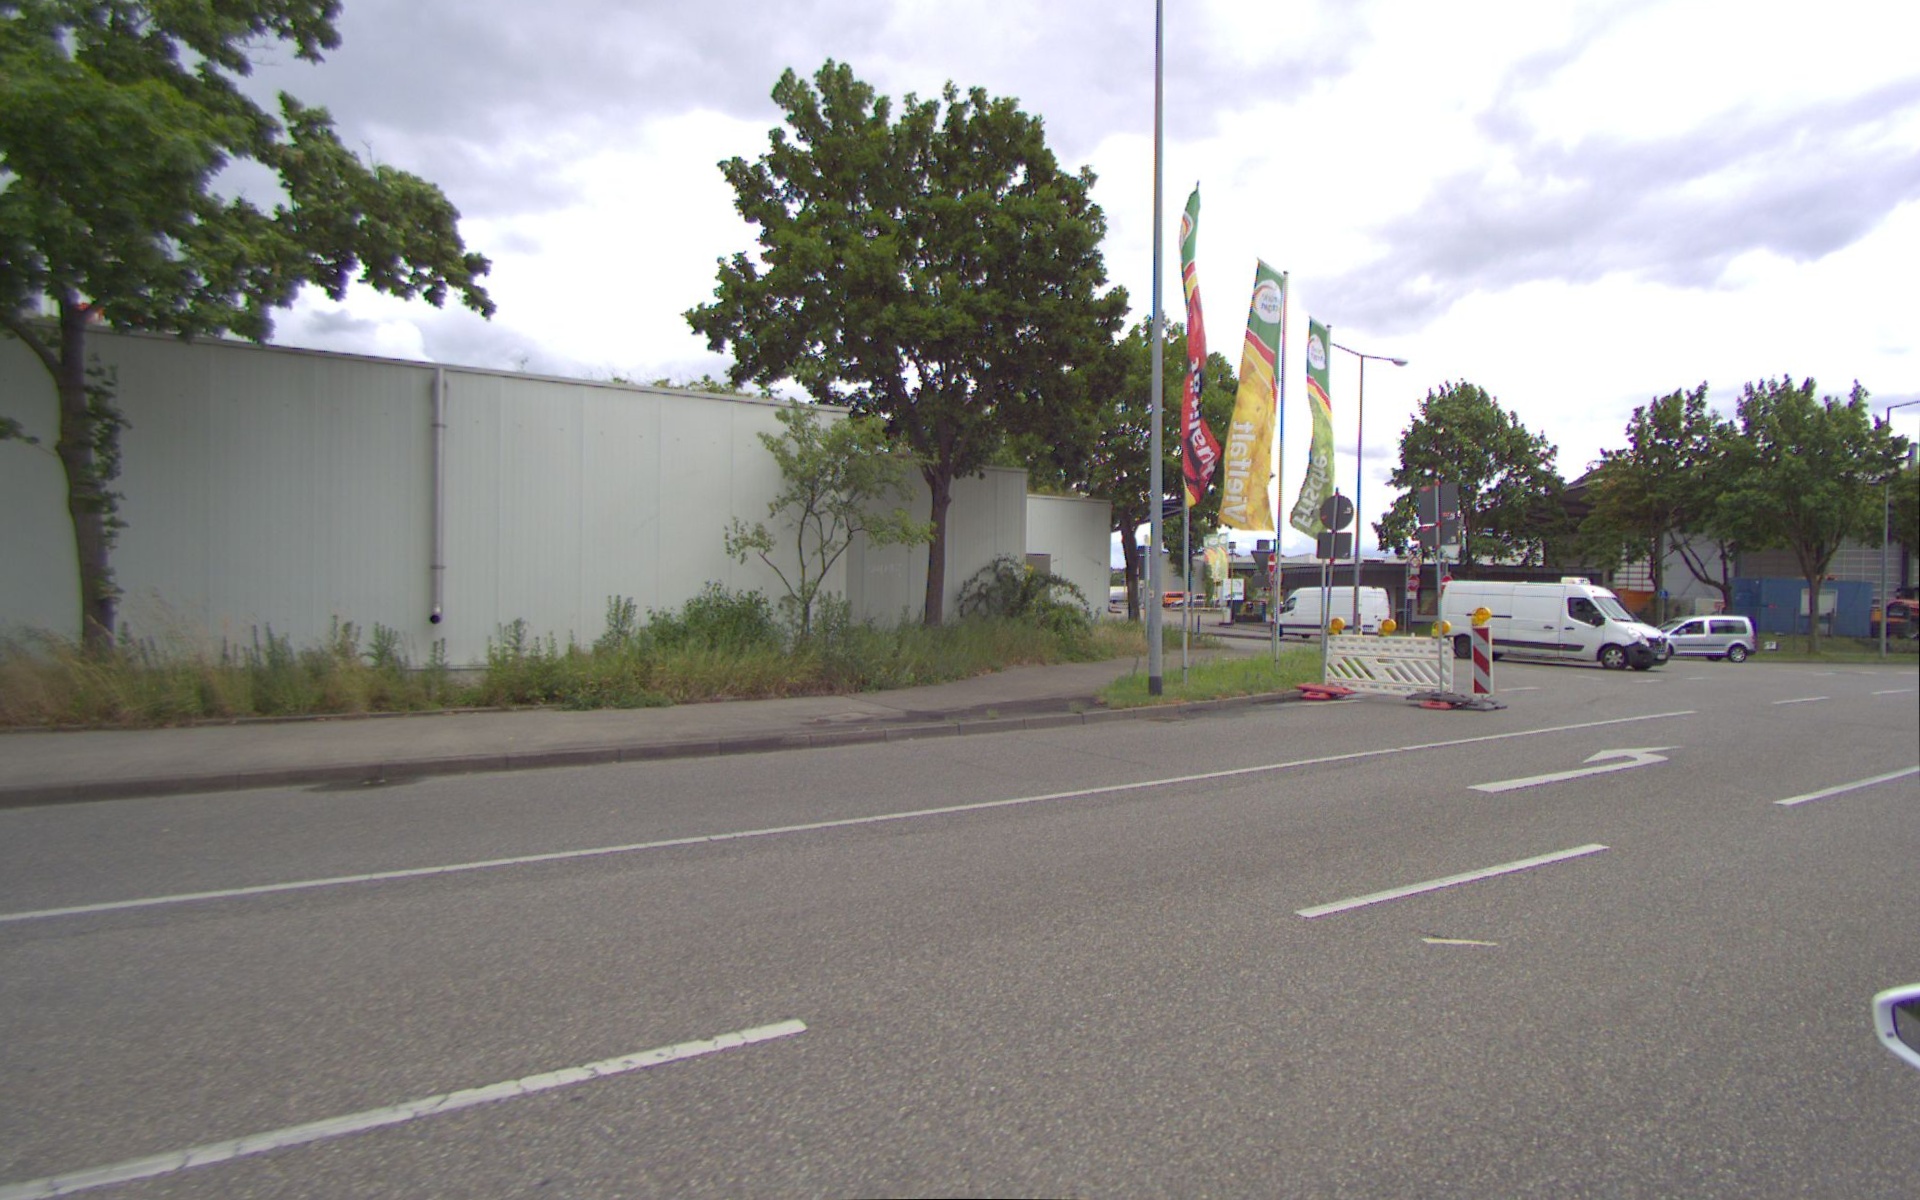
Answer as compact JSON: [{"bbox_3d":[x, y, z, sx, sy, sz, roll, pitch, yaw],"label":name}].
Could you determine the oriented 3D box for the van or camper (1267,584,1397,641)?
[{"bbox_3d":[18.242,0.531,49.741,2.297,2.591,6.544,1,1,-21],"label":"van or camper"}]

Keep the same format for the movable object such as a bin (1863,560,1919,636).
[{"bbox_3d":[54.831,-0.069,56.045,6.422,4.145,2.734,1,0,1],"label":"movable object such as a bin"}]

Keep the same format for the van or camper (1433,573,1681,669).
[{"bbox_3d":[17.793,0.503,30.334,2.248,2.591,6.052,0,1,-33],"label":"van or camper"}]

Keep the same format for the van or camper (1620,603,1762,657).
[{"bbox_3d":[29.631,1.197,40.851,4.189,1.990,1.959,1,1,10],"label":"van or camper"}]

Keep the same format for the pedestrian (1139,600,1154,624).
[{"bbox_3d":[12.119,0.768,65.249,0.755,1.579,0.815,1,0,-9],"label":"pedestrian"}]
